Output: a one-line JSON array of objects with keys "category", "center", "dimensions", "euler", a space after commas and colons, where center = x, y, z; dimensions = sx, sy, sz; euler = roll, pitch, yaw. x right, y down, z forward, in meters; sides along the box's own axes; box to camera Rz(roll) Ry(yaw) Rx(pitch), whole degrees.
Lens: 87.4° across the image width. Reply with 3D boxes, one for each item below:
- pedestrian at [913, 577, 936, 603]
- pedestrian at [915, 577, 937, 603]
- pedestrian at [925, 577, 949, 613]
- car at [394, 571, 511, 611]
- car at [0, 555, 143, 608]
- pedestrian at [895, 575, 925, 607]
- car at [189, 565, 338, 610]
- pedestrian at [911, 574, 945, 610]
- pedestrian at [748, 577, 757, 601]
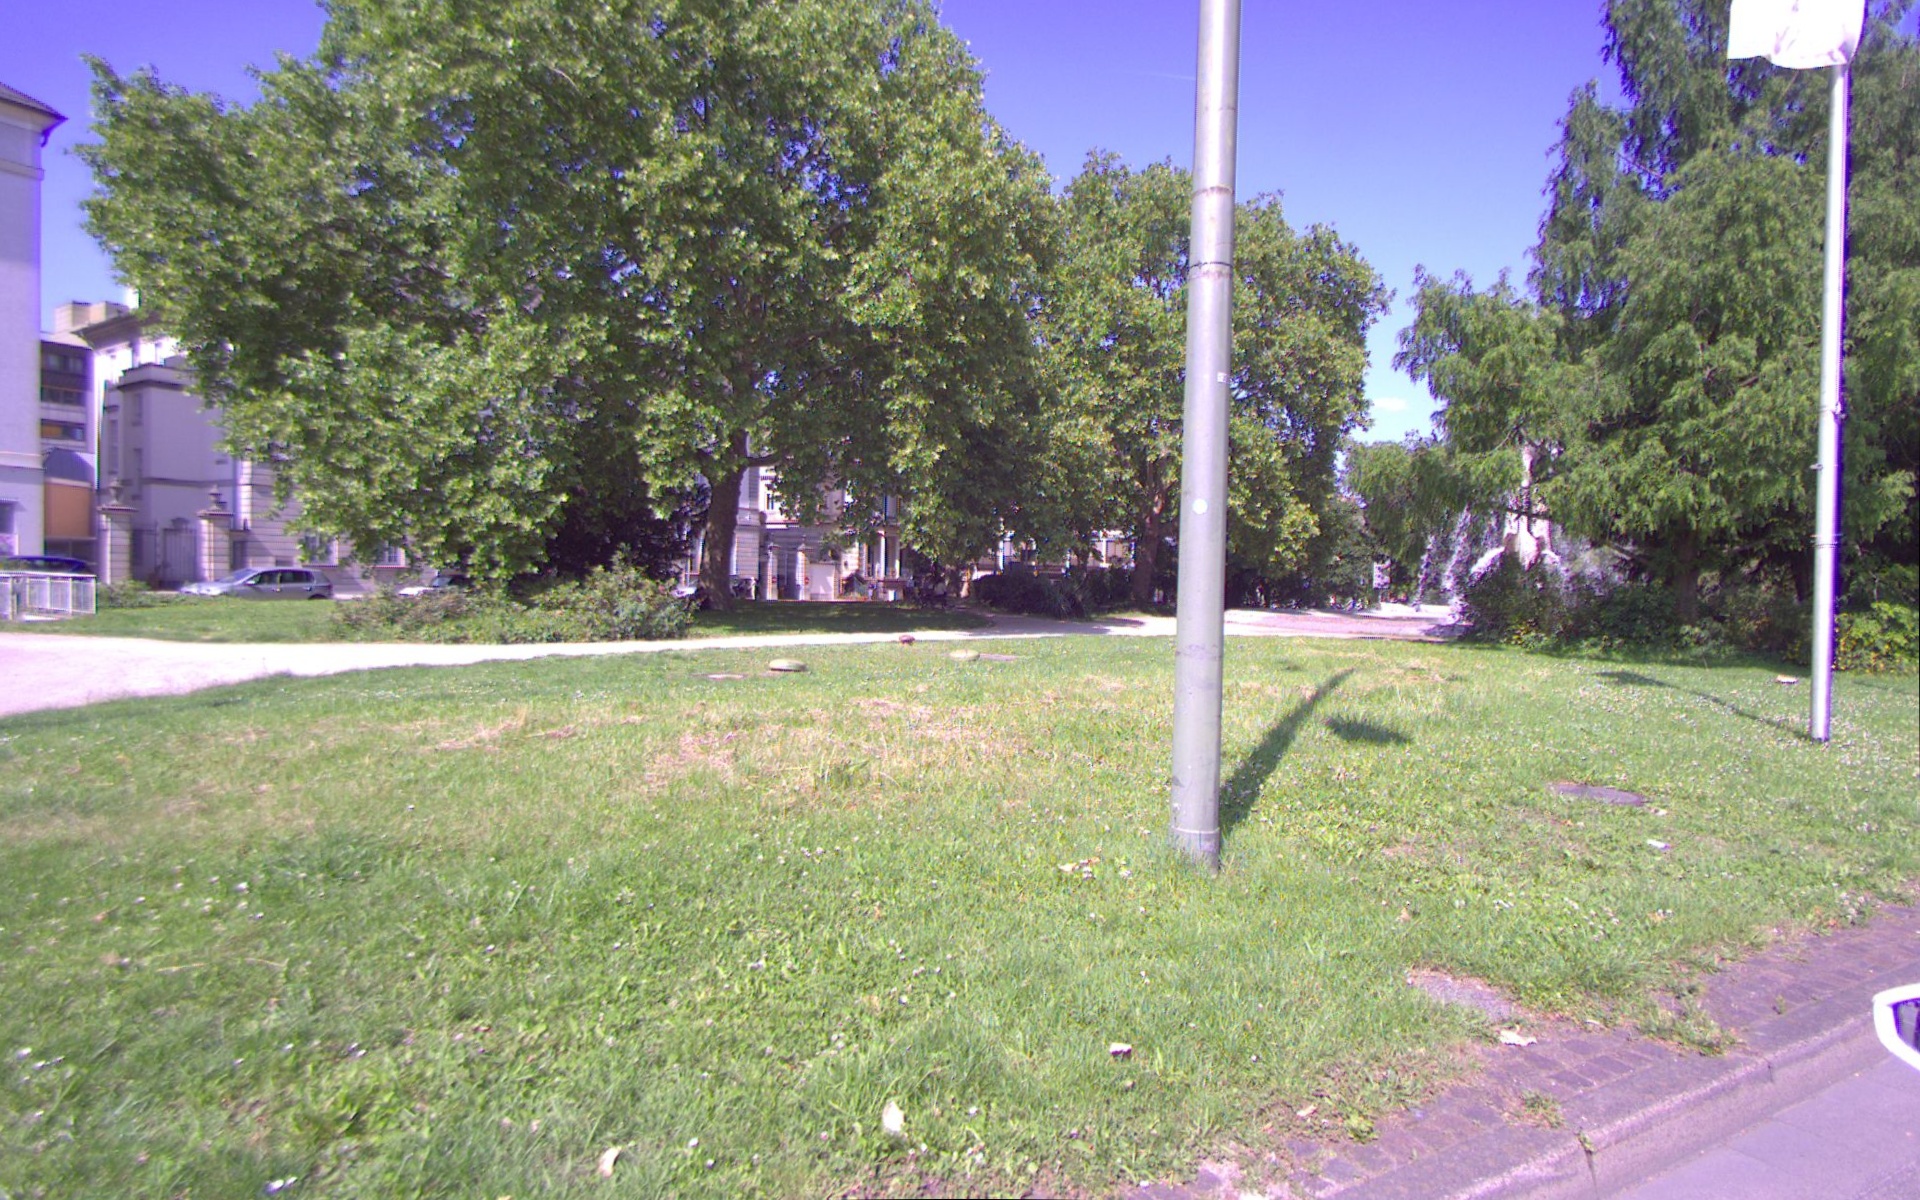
[{"category": "pedestrian", "center": [-1.744, -0.485, 49.245], "dimensions": [1.037, 1.242, 0.756], "euler": [2, 2, 0]}, {"category": "pedestrian", "center": [-1.699, -0.487, 50.082], "dimensions": [1.037, 1.242, 0.756], "euler": [2, 2, 0]}, {"category": "pedestrian", "center": [-0.813, -0.191, 35.777], "dimensions": [0.659, 1.242, 0.753], "euler": [1, 2, -17]}, {"category": "car", "center": [-18.899, -0.341, 37.531], "dimensions": [1.583, 1.398, 3.576], "euler": [3, 2, 32]}, {"category": "car", "center": [-25.008, -0.520, 27.663], "dimensions": [1.583, 1.364, 3.576], "euler": [3, 2, 32]}, {"category": "pedestrian", "center": [-2.039, -0.371, 41.216], "dimensions": [1.041, 1.242, 0.753], "euler": [1, 2, -17]}, {"category": "car", "center": [-22.060, -0.397, 31.916], "dimensions": [1.583, 1.286, 3.576], "euler": [3, 2, 32]}, {"category": "pedestrian", "center": [-1.168, -0.285, 36.381], "dimensions": [1.041, 1.242, 0.753], "euler": [1, 2, -17]}, {"category": "pedestrian", "center": [-14.285, -0.756, 69.284], "dimensions": [0.486, 1.646, 0.376], "euler": [1, 1, -30]}]
